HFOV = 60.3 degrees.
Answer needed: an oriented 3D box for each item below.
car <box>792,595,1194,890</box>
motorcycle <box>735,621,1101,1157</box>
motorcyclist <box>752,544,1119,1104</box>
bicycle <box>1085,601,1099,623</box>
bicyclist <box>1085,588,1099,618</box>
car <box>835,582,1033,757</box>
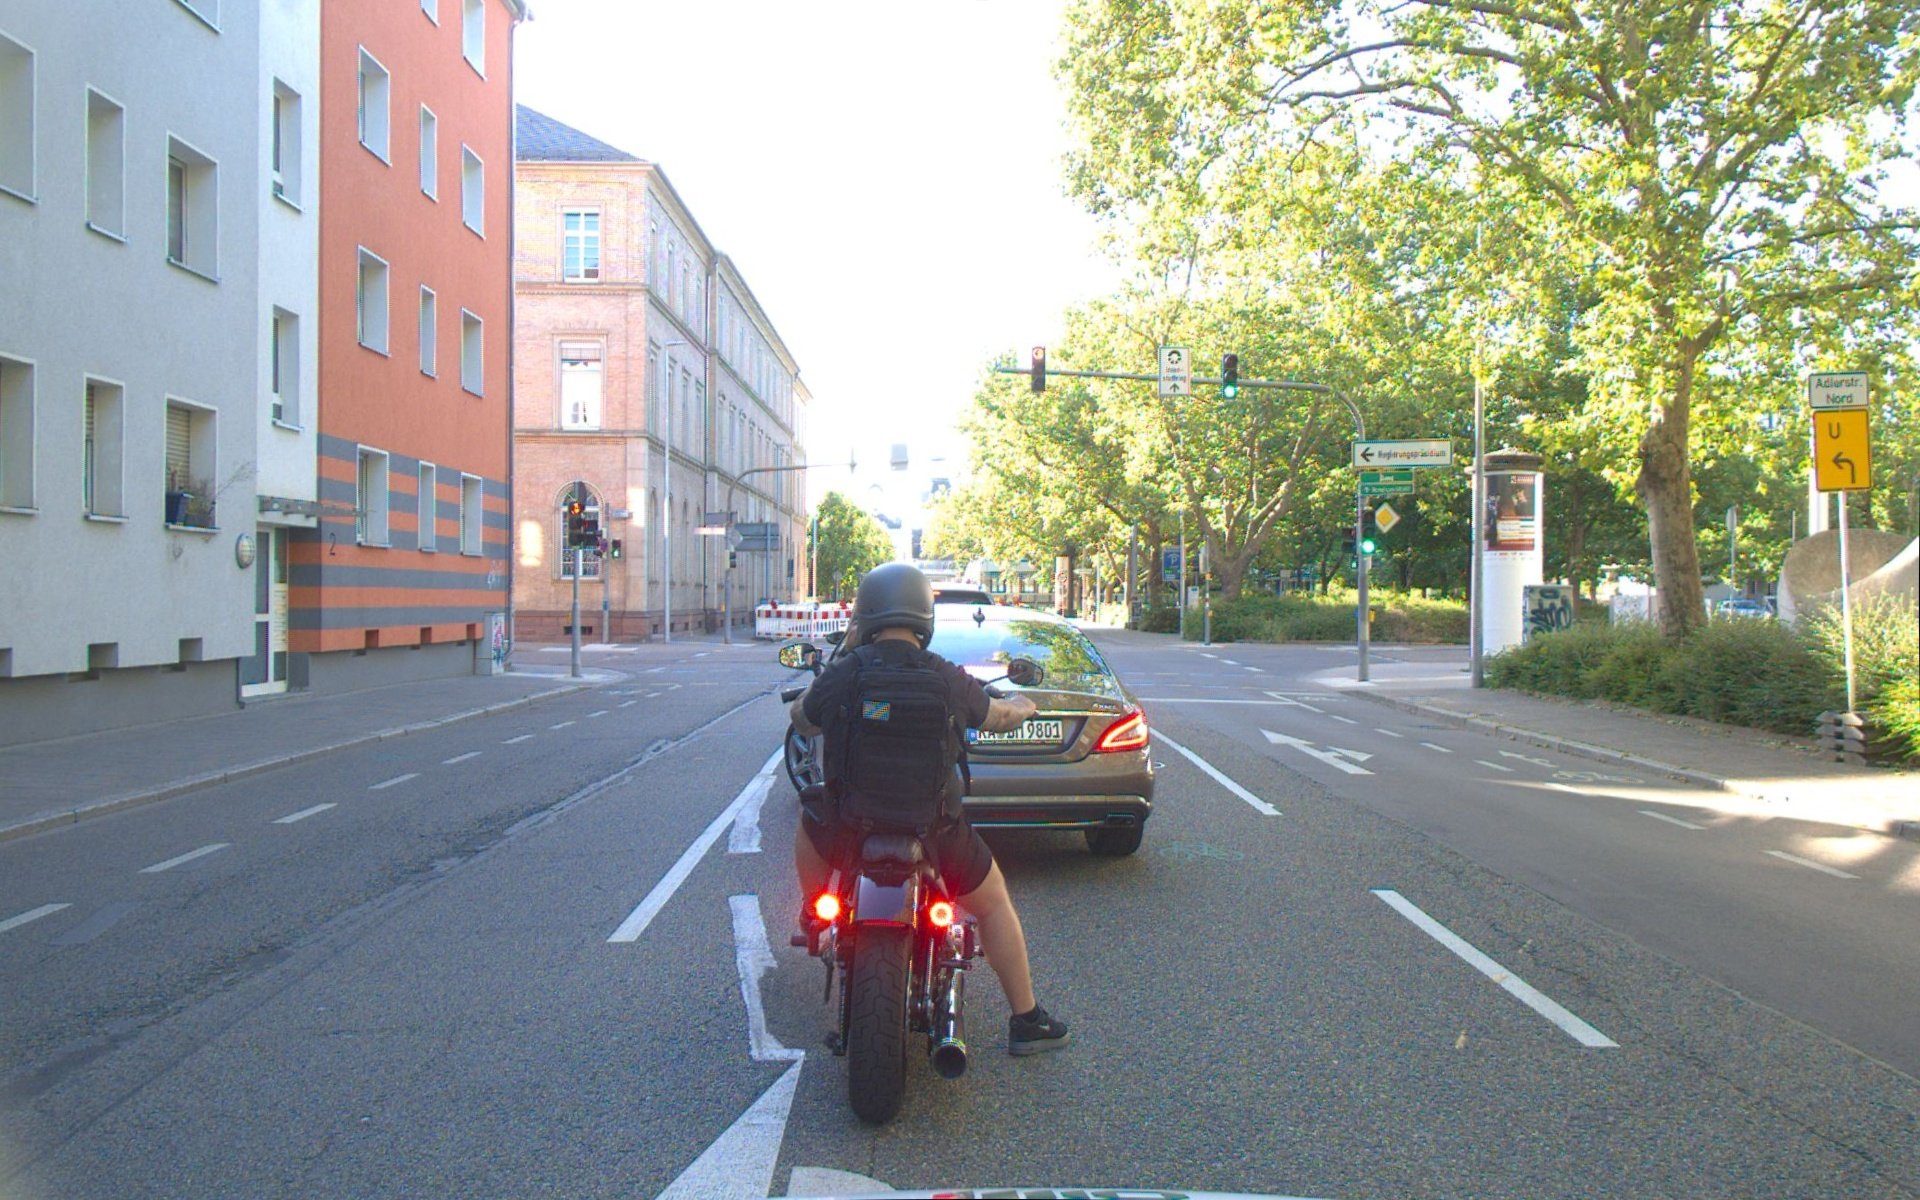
[{"bbox_3d":[-0.026,0.708,10.541,1.867,1.466,4.280,0,0,-9],"label":"car"},{"bbox_3d":[-0.126,0.778,5.522,0.942,1.380,2.319,1,0,-1],"label":"motorcycle"},{"bbox_3d":[-0.076,0.653,5.253,1.039,1.610,0.908,1,0,-1],"label":"motorcyclist"},{"bbox_3d":[7.090,0.647,88.800,0.701,1.193,2.177,1,0,3],"label":"bicycle"},{"bbox_3d":[7.084,0.171,88.807,0.701,1.610,0.936,1,0,3],"label":"bicyclist"},{"bbox_3d":[-0.341,0.611,16.752,1.777,1.563,3.846,0,0,-3],"label":"car"}]
